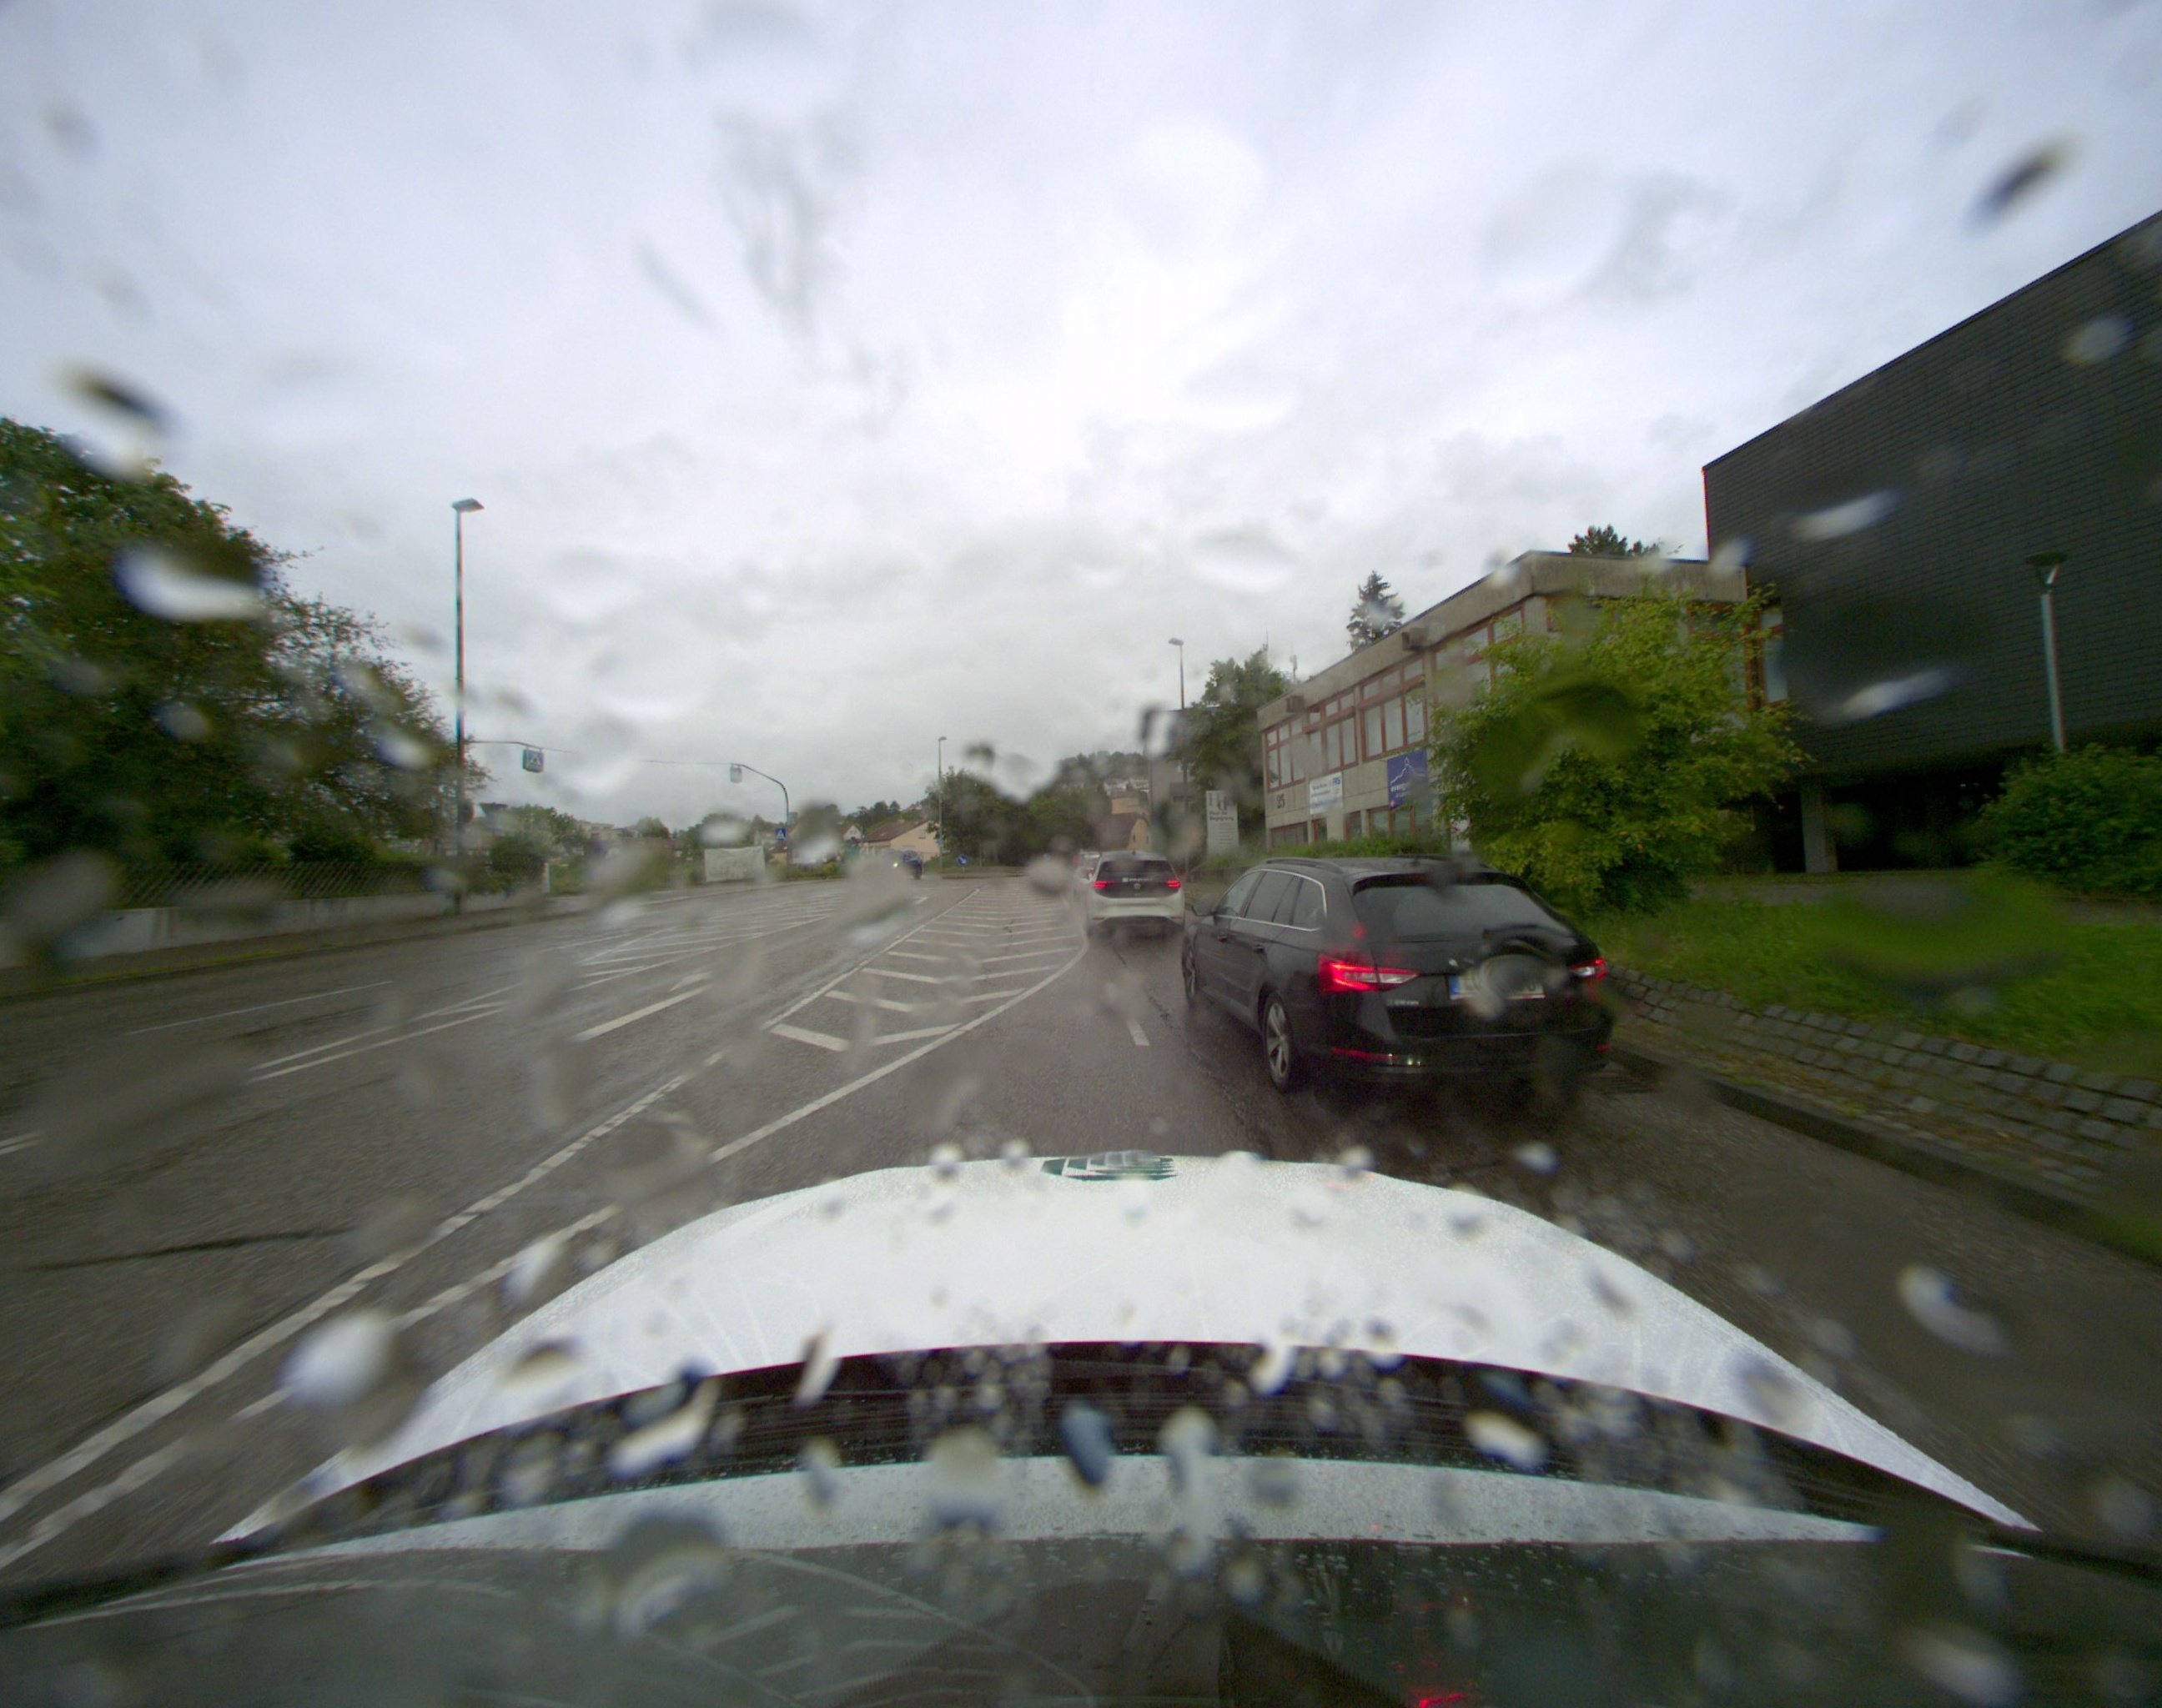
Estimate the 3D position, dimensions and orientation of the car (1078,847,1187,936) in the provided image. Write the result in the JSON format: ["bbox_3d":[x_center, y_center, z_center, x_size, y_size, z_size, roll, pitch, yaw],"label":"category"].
[{"bbox_3d":[0.923,0.666,15.981,1.822,1.500,4.169,-1,-1,1],"label":"car"}]

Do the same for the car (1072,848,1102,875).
[{"bbox_3d":[0.395,0.420,49.847,1.561,1.530,4.003,-1,0,3],"label":"car"}]

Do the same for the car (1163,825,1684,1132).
[{"bbox_3d":[1.974,0.651,6.373,1.950,1.507,4.603,1,-1,-3],"label":"car"}]

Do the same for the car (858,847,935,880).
[{"bbox_3d":[-9.843,0.533,43.941,1.978,1.693,4.725,-1,-1,17],"label":"car"}]

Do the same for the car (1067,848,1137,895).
[{"bbox_3d":[0.610,0.556,26.809,1.845,1.410,4.294,-1,-1,-4],"label":"car"}]
